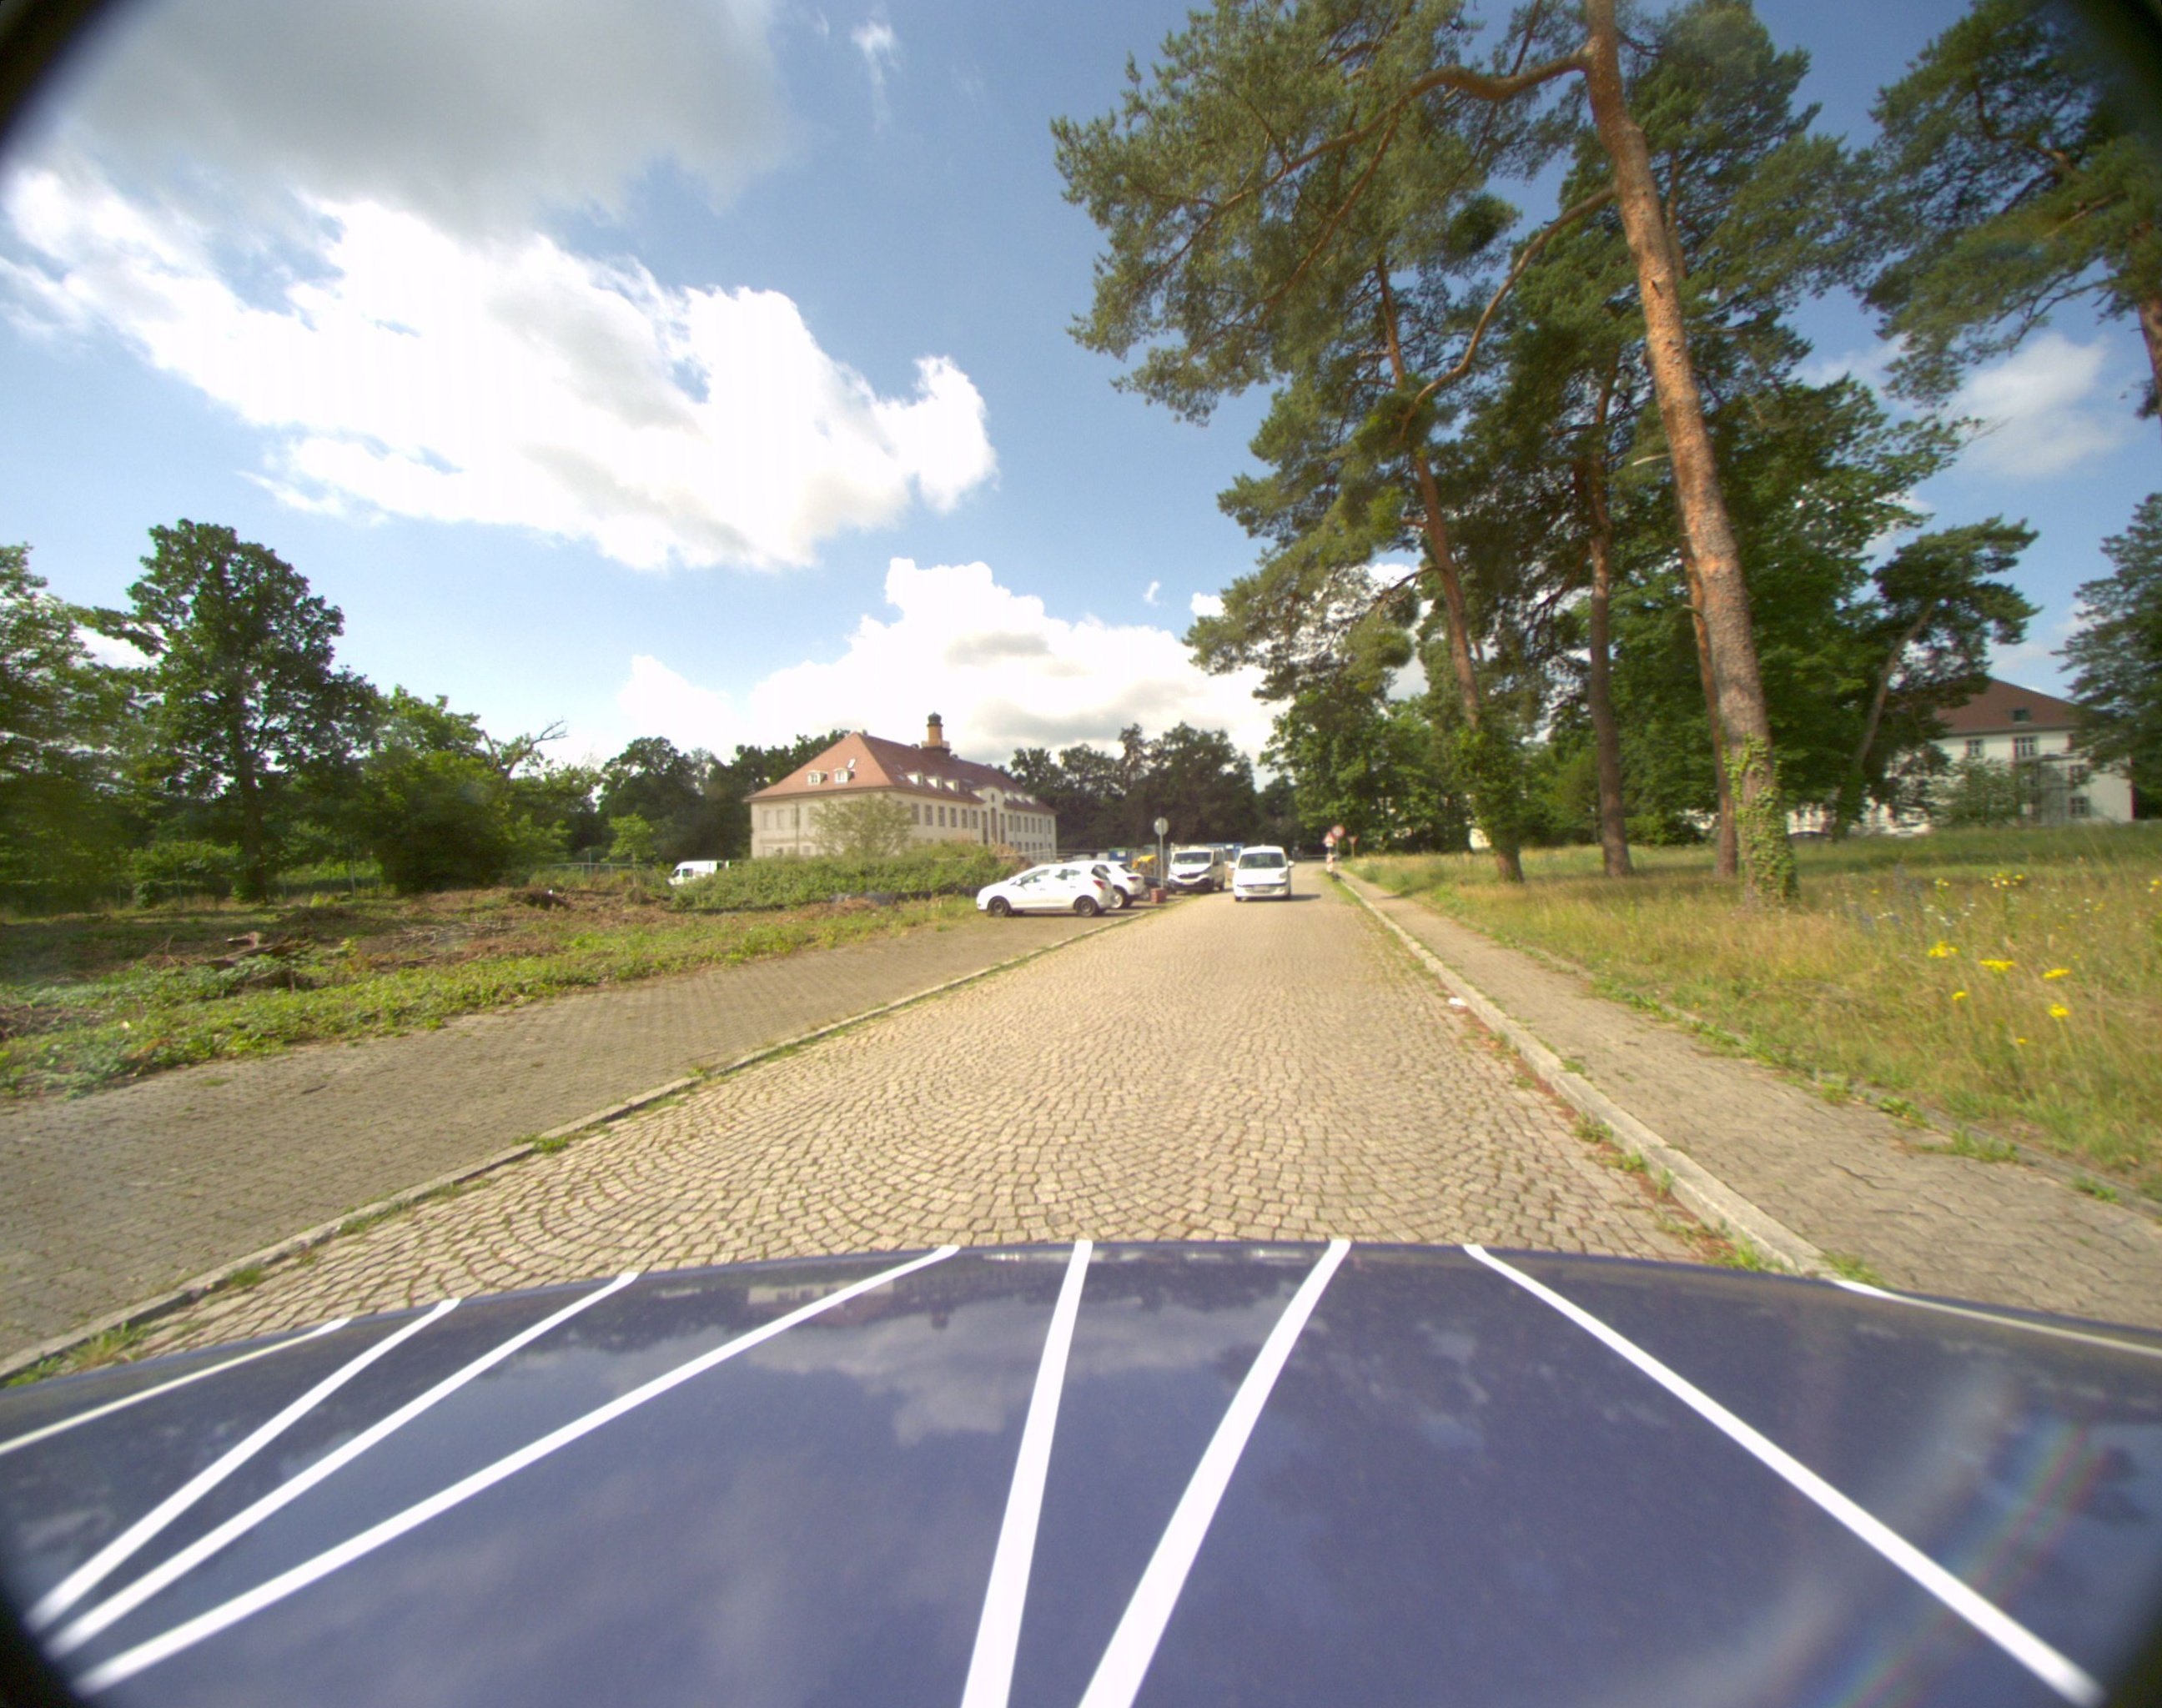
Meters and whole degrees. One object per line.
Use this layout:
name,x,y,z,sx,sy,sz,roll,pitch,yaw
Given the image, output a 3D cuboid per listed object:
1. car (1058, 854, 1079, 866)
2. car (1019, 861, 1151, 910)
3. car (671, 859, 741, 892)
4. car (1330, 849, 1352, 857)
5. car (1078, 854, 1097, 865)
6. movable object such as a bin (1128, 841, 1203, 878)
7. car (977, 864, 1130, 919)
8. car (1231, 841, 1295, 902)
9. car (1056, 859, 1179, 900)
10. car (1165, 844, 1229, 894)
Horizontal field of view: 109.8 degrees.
car,-2.018,0.915,120.689,1.882,1.718,4.714,-2,0,18
car,0.168,0.999,24.810,3.992,1.498,1.748,-1,1,14
car,-31.431,1.803,63.633,5.425,2.576,2.251,-2,0,25
car,52.738,-0.184,154.305,4.079,1.634,1.769,-2,0,16
car,1.102,0.868,119.848,1.800,1.673,4.045,-2,0,18
movable object such as a bin,6.050,0.383,53.755,5.668,2.507,2.144,-1,-1,-45
car,-0.754,1.044,21.852,4.048,1.455,1.706,-1,1,14
car,6.363,0.585,26.235,1.837,1.857,4.837,-2,-1,17
car,1.420,0.973,29.159,4.460,1.466,1.747,-1,1,13
car,5.359,0.614,34.387,1.916,2.041,5.686,-2,0,18
